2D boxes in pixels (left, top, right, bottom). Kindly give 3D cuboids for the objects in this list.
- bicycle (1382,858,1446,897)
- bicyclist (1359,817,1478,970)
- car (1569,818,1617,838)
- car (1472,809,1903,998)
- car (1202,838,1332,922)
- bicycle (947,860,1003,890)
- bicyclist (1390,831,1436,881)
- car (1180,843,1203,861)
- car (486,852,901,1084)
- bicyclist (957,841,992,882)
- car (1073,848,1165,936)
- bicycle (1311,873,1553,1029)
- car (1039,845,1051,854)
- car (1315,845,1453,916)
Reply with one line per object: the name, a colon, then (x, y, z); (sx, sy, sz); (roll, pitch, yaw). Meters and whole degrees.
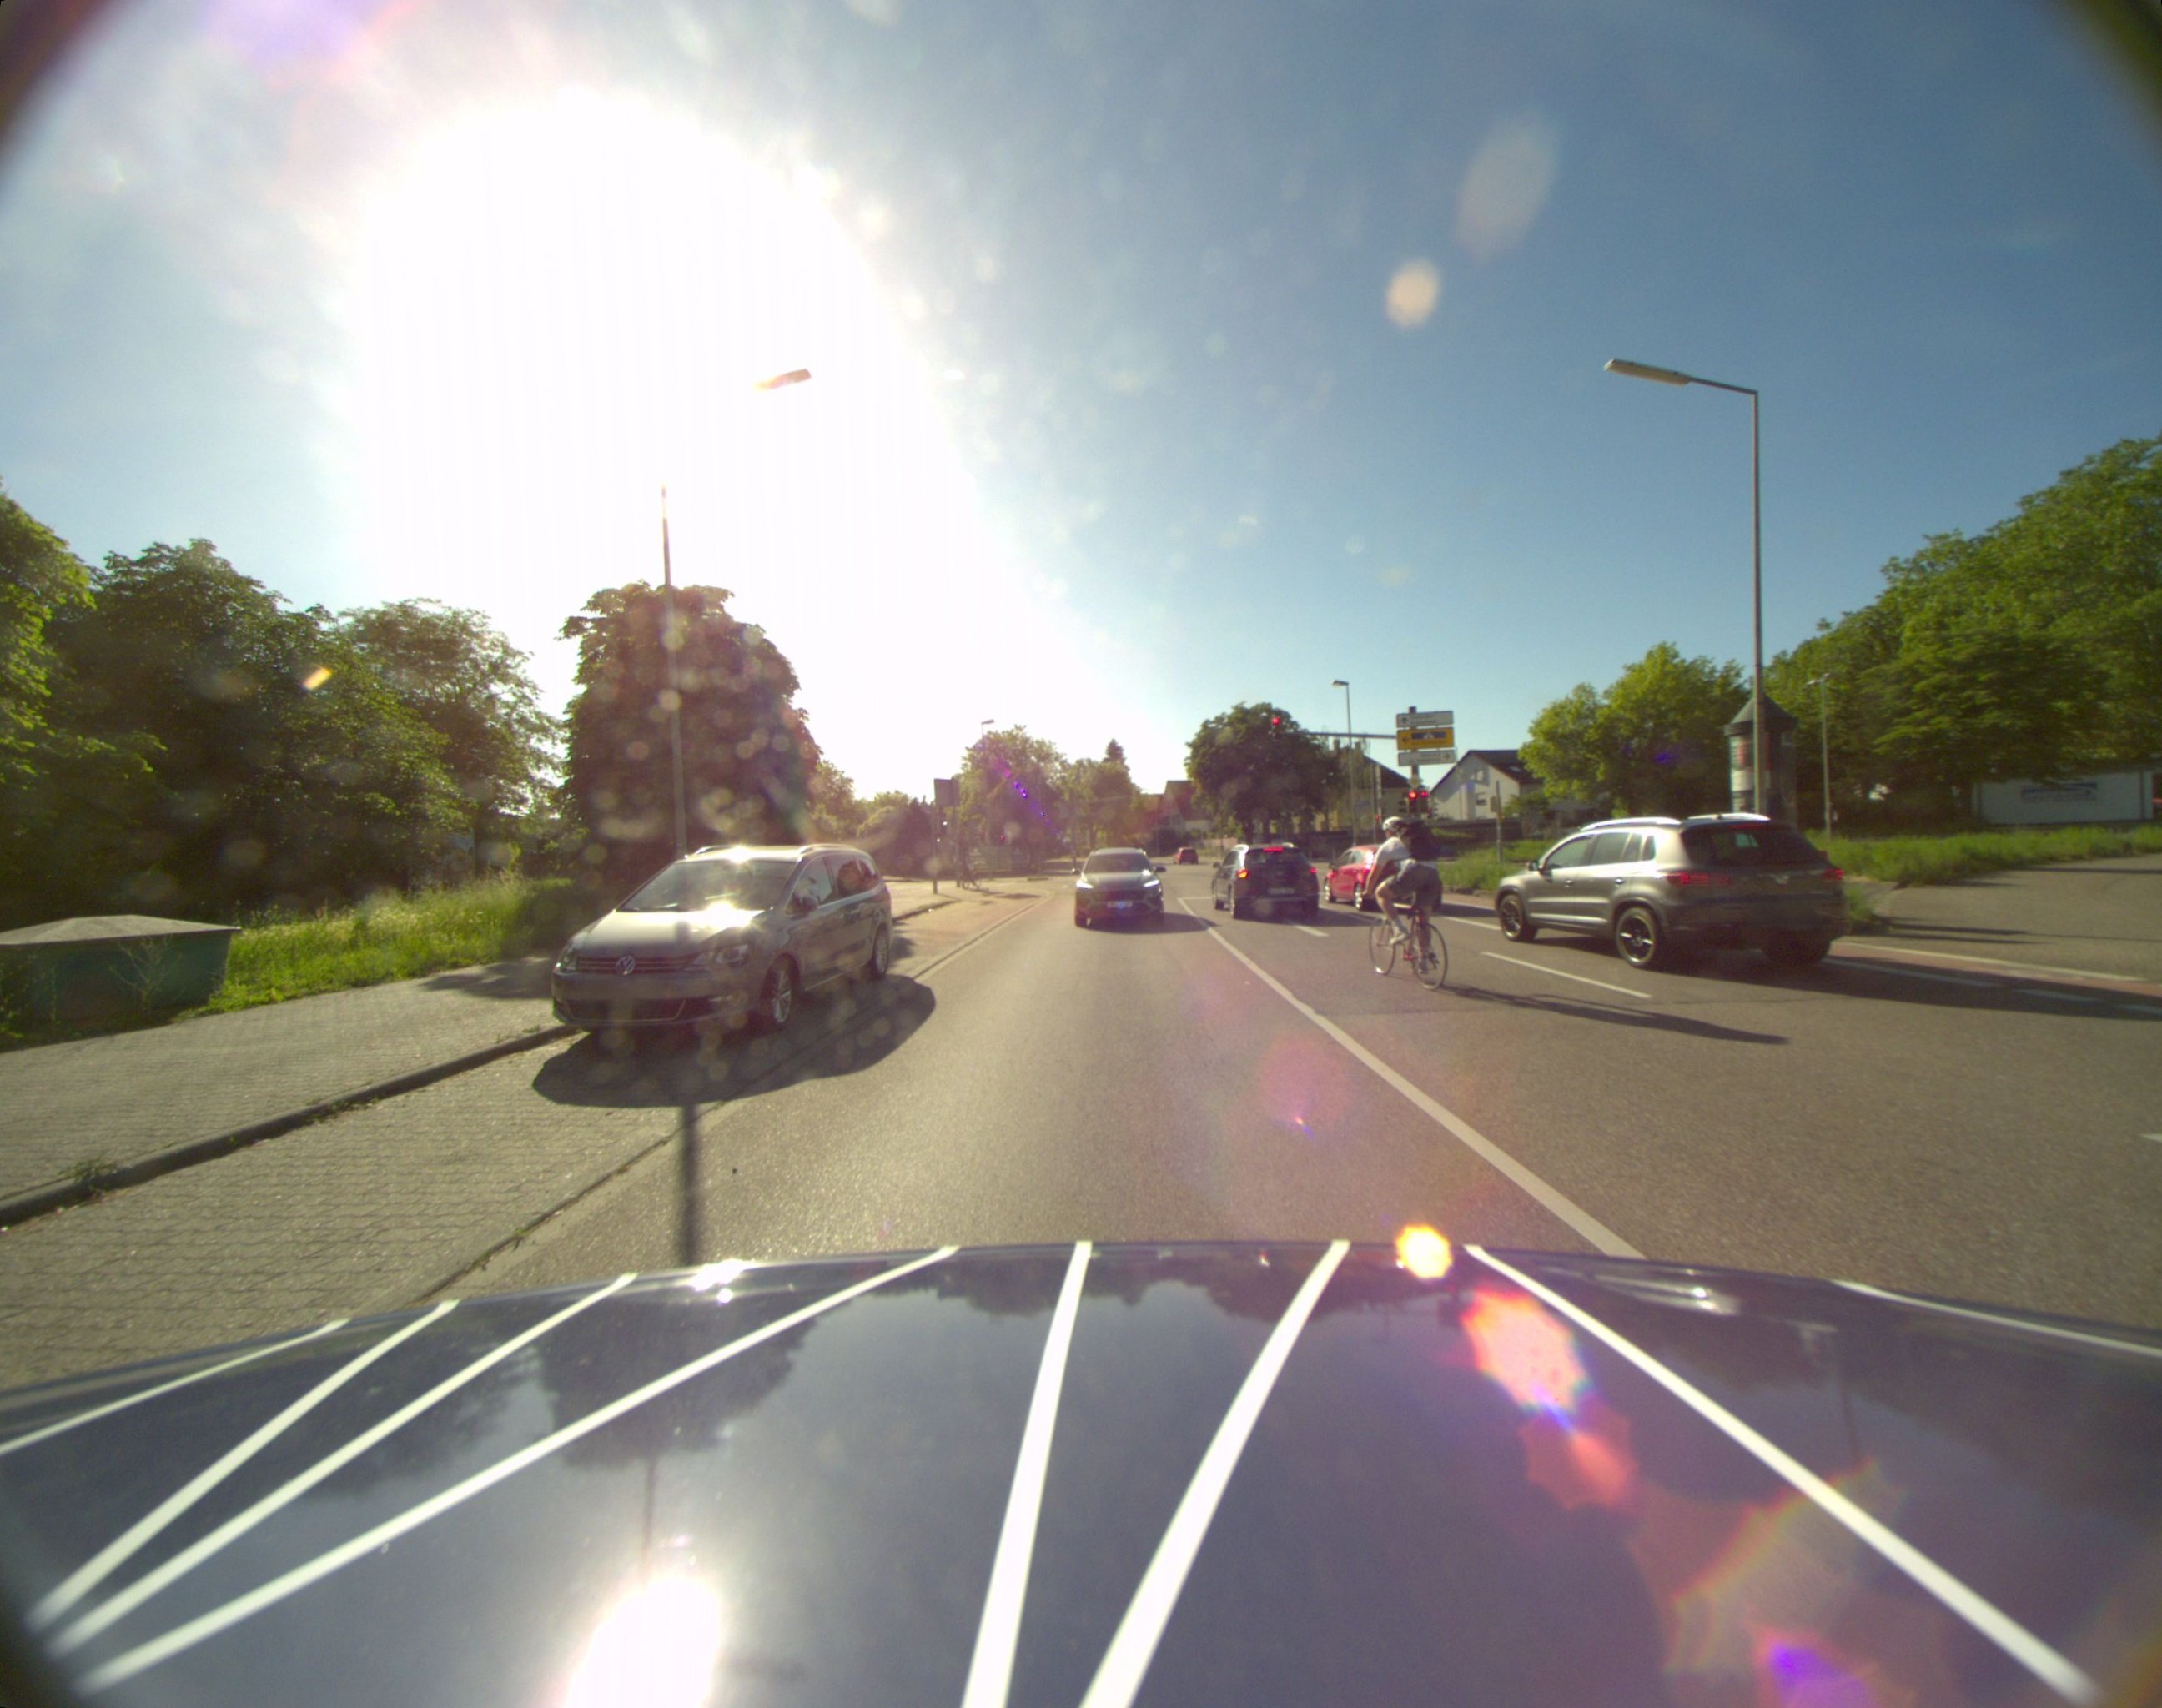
bicycle: (9.597, 0.661, 22.001); (0.939, 1.011, 2.197); (-3, 0, 4)
bicyclist: (3.519, 0.393, 7.987); (0.774, 1.476, 0.825); (-3, 0, -6)
car: (45.910, -2.358, 68.144); (4.006, 1.547, 1.996); (-3, 0, -31)
car: (6.896, 0.487, 9.397); (1.857, 1.725, 4.270); (-3, 0, 0)
car: (4.020, 0.525, 17.146); (1.918, 1.589, 4.000); (-3, 0, 0)
bicycle: (-4.495, 0.866, 32.423); (0.901, 1.119, 2.957); (-3, 0, 23)
bicyclist: (9.585, 0.056, 21.982); (0.935, 1.393, 0.823); (-3, 0, 4)
car: (9.642, -0.199, 65.892); (1.861, 1.461, 4.140); (-3, 1, 9)
car: (-3.503, 0.869, 8.092); (1.877, 1.712, 4.612); (-1, 1, 2)
bicyclist: (-4.542, 0.297, 32.384); (0.890, 1.683, 1.192); (-3, 0, 23)
car: (0.714, 0.711, 16.583); (1.715, 1.636, 4.054); (-2, 1, -1)
bicycle: (3.523, 0.875, 8.164); (0.795, 1.218, 3.211); (-3, 0, -6)
car: (-6.744, -0.772, 141.915); (1.862, 1.625, 4.254); (-2, 0, -7)
car: (6.917, 0.528, 17.795); (1.788, 1.406, 3.891); (-2, 1, 3)
